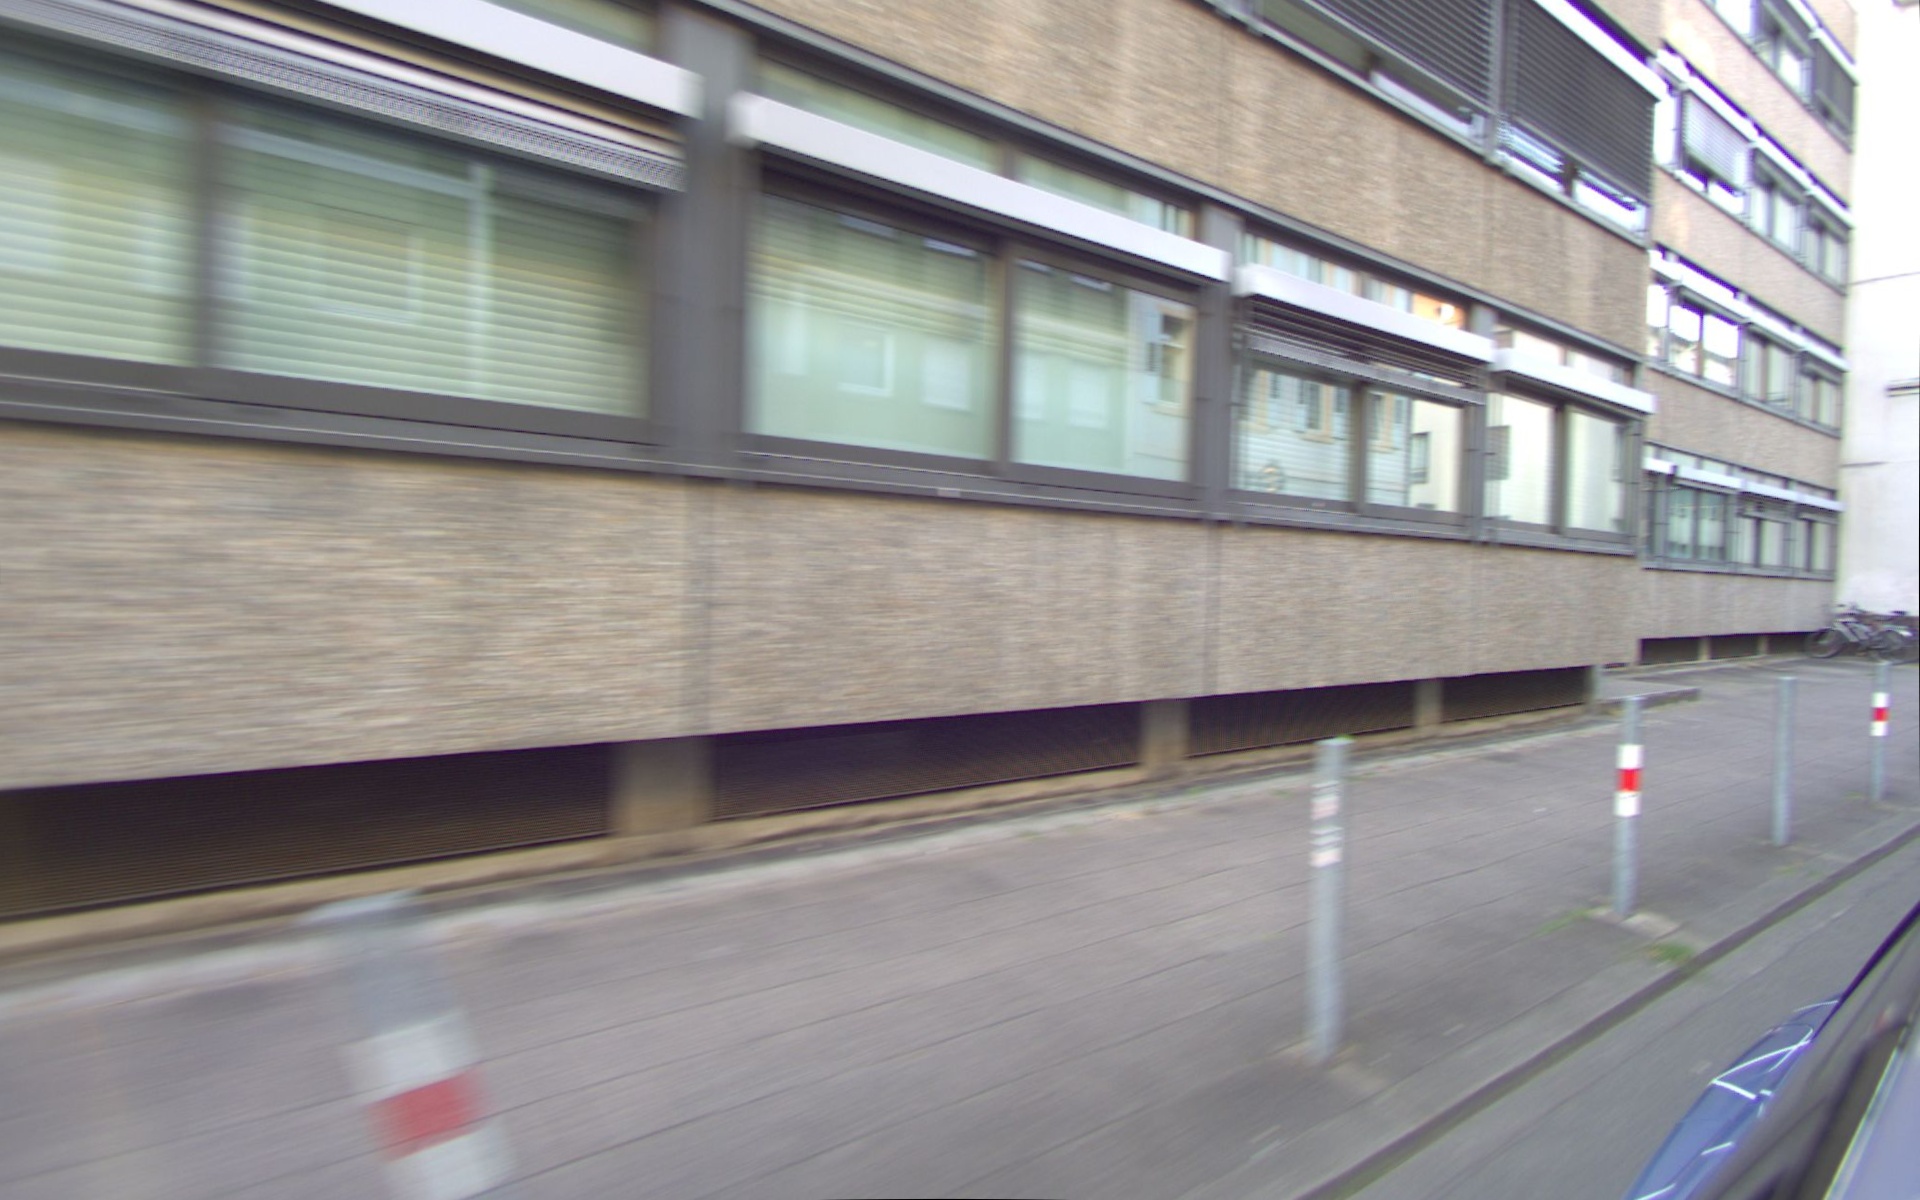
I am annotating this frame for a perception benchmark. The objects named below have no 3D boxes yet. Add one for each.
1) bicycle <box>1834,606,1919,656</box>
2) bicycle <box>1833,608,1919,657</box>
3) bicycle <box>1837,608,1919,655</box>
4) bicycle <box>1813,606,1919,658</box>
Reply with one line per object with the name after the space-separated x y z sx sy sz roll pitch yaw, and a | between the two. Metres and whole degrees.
18.887 0.630 20.465 0.529 0.934 1.797 0 2 -44 | bicycle
19.381 0.672 21.047 0.508 0.934 1.797 0 2 -44 | bicycle
19.793 0.668 21.431 0.389 0.934 1.799 0 1 -40 | bicycle
18.141 0.627 20.130 0.529 0.934 1.741 0 2 -43 | bicycle
